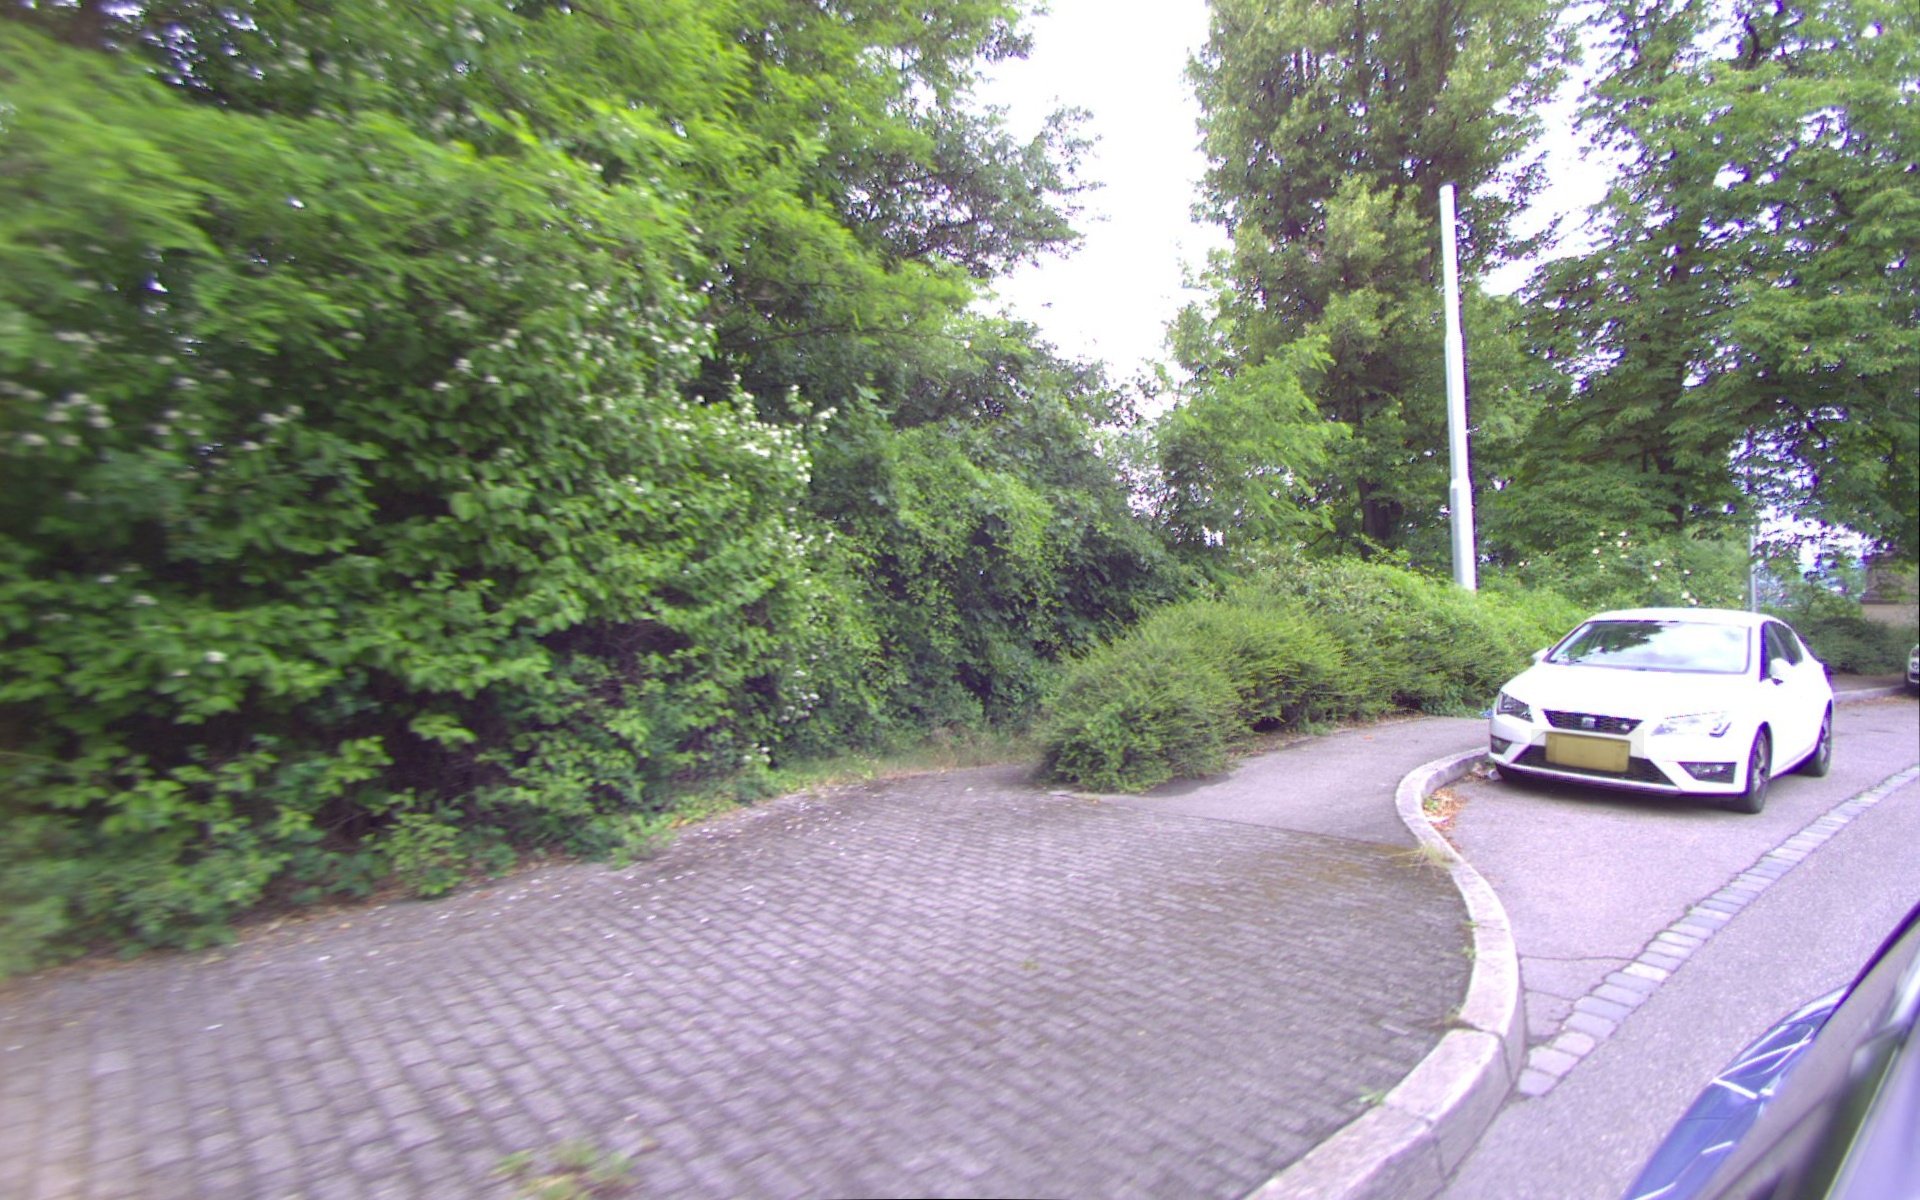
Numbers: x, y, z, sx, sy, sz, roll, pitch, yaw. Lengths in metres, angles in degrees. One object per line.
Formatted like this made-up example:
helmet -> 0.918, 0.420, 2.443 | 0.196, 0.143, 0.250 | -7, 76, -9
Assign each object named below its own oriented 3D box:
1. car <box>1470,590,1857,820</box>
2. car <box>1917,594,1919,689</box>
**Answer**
car -> 6.018, 0.700, 8.498 | 3.823, 1.459, 1.764 | 1, 1, -41
car -> 18.436, 0.763, 17.489 | 3.930, 1.604, 1.758 | 1, 0, -31
